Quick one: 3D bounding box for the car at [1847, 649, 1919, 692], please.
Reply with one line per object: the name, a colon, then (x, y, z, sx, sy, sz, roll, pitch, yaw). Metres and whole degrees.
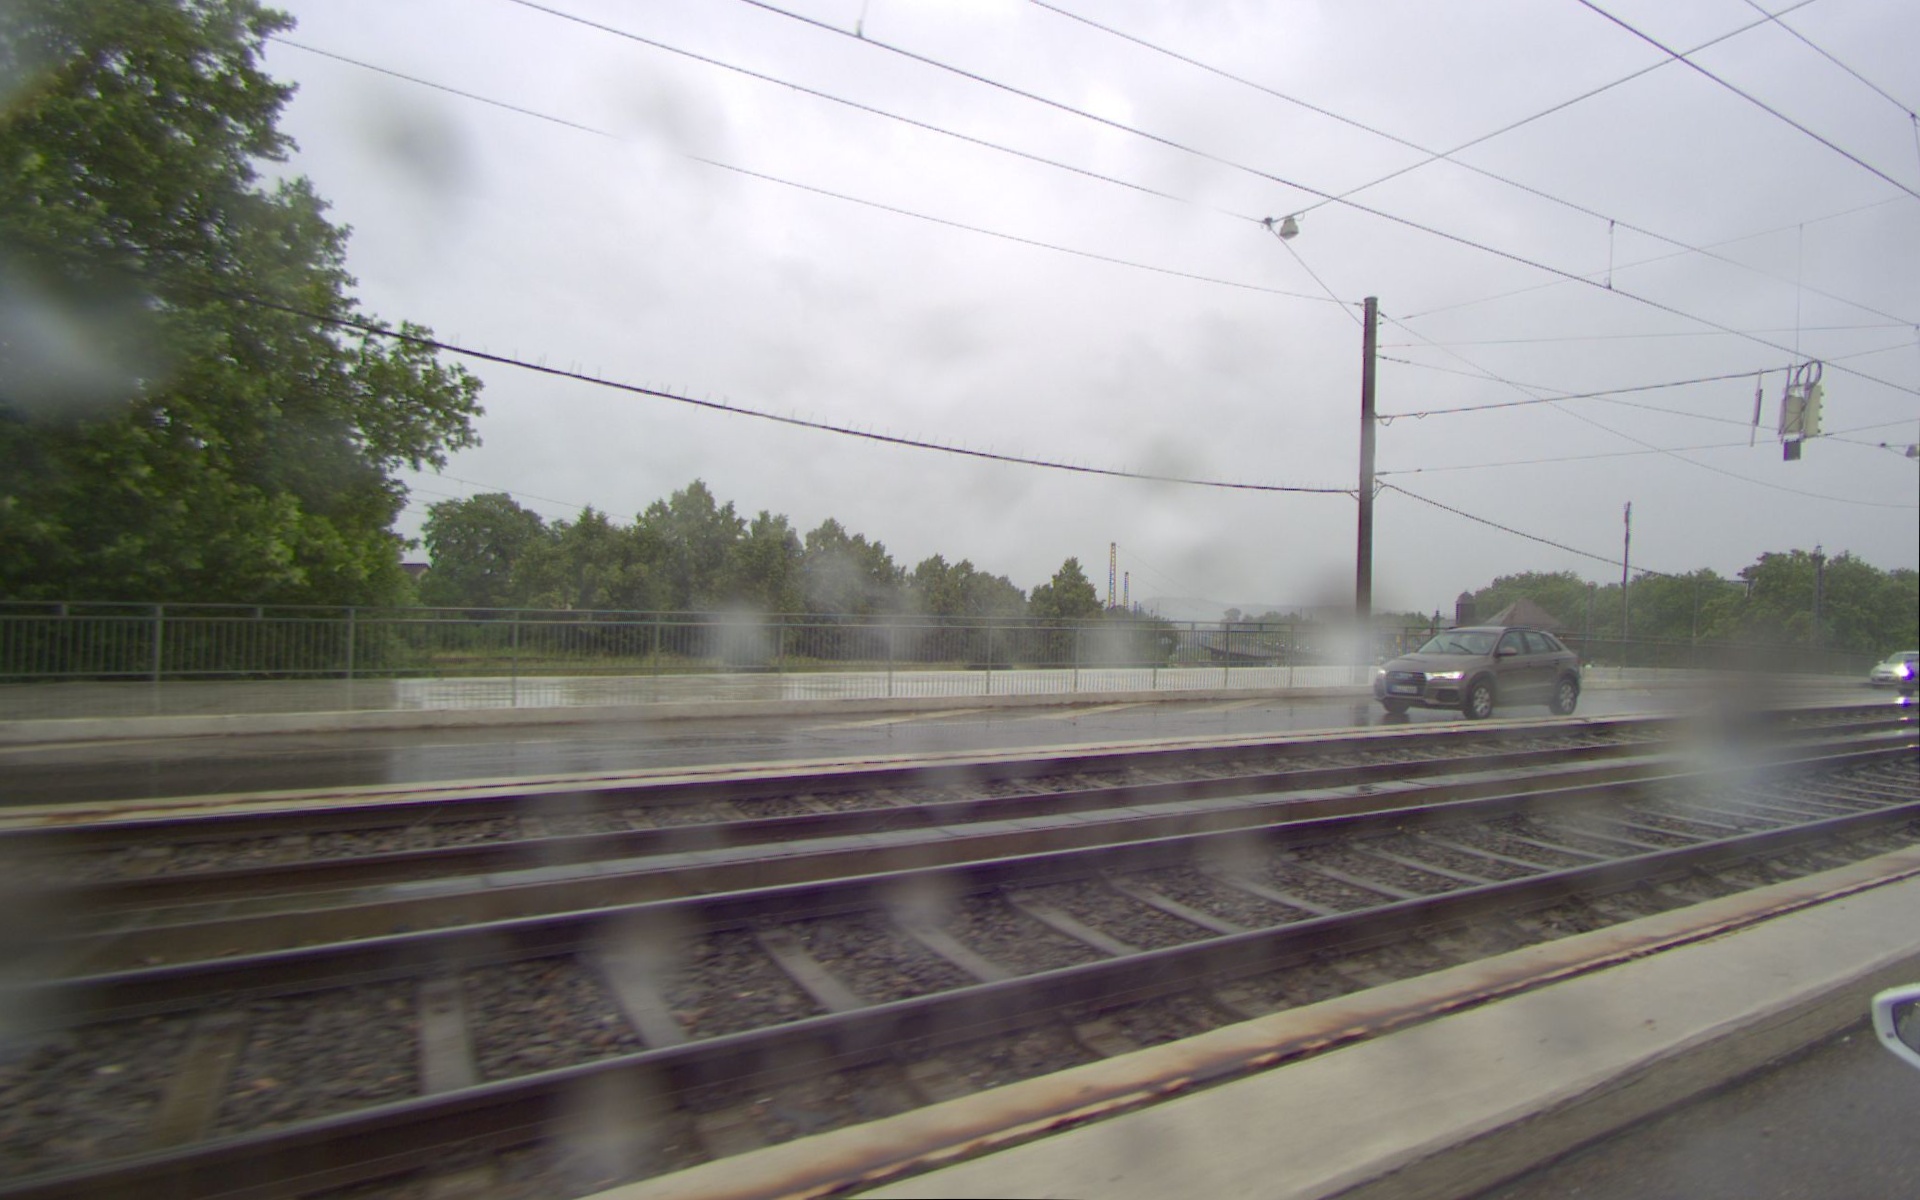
car: (35.477, 2.664, 37.713, 4.568, 1.474, 1.984, 4, -3, -31)

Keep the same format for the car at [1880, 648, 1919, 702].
car: (29.717, 2.281, 30.078, 5.059, 1.529, 1.982, 4, -3, -33)

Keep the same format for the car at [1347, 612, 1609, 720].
car: (9.496, 1.226, 18.302, 4.885, 1.739, 1.984, 3, -3, -31)
